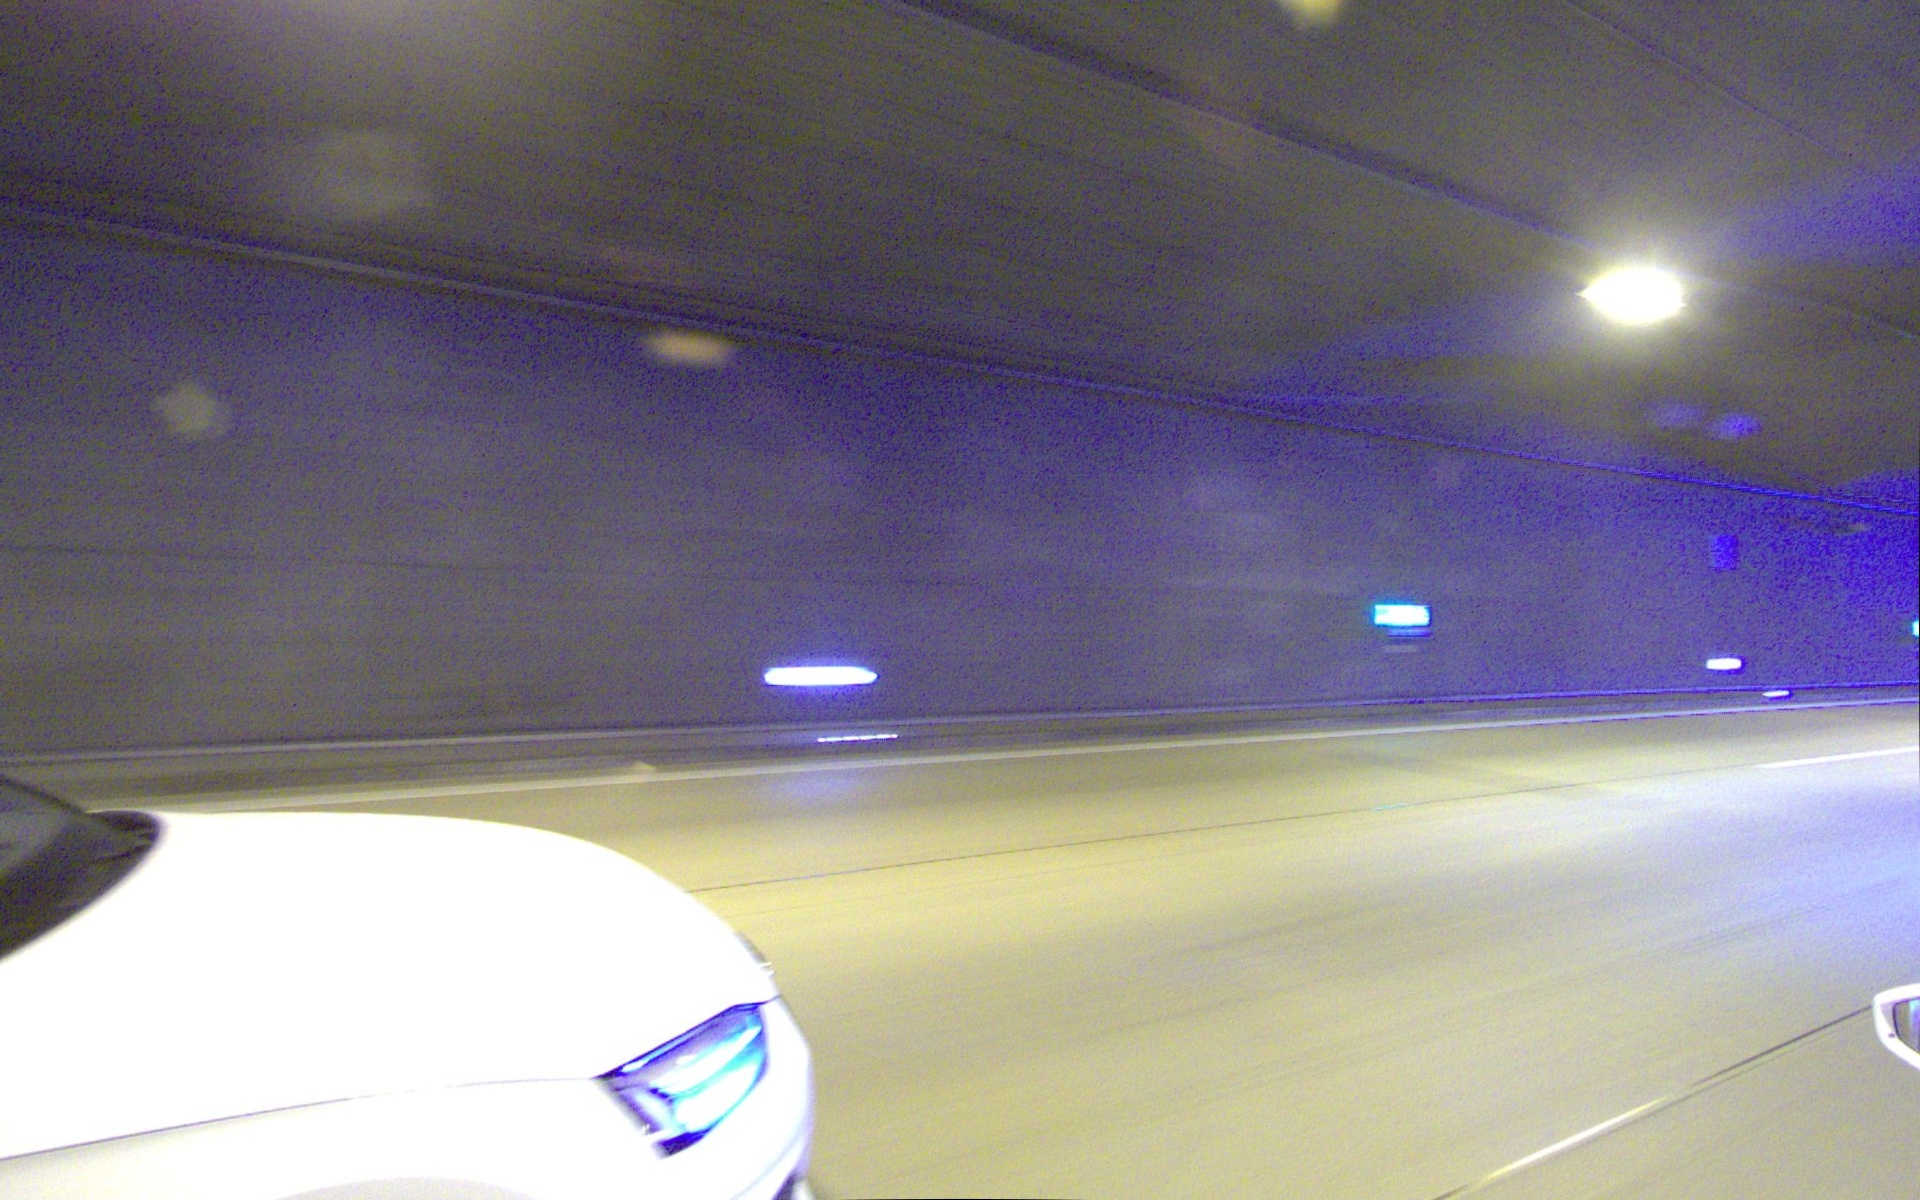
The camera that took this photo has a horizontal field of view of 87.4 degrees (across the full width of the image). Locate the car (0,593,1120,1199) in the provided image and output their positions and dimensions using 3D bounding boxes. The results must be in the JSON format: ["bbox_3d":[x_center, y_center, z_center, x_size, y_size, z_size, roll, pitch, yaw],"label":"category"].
[{"bbox_3d":[-2.300,0.684,1.287,5.000,1.437,1.694,2,-1,-30],"label":"car"}]
